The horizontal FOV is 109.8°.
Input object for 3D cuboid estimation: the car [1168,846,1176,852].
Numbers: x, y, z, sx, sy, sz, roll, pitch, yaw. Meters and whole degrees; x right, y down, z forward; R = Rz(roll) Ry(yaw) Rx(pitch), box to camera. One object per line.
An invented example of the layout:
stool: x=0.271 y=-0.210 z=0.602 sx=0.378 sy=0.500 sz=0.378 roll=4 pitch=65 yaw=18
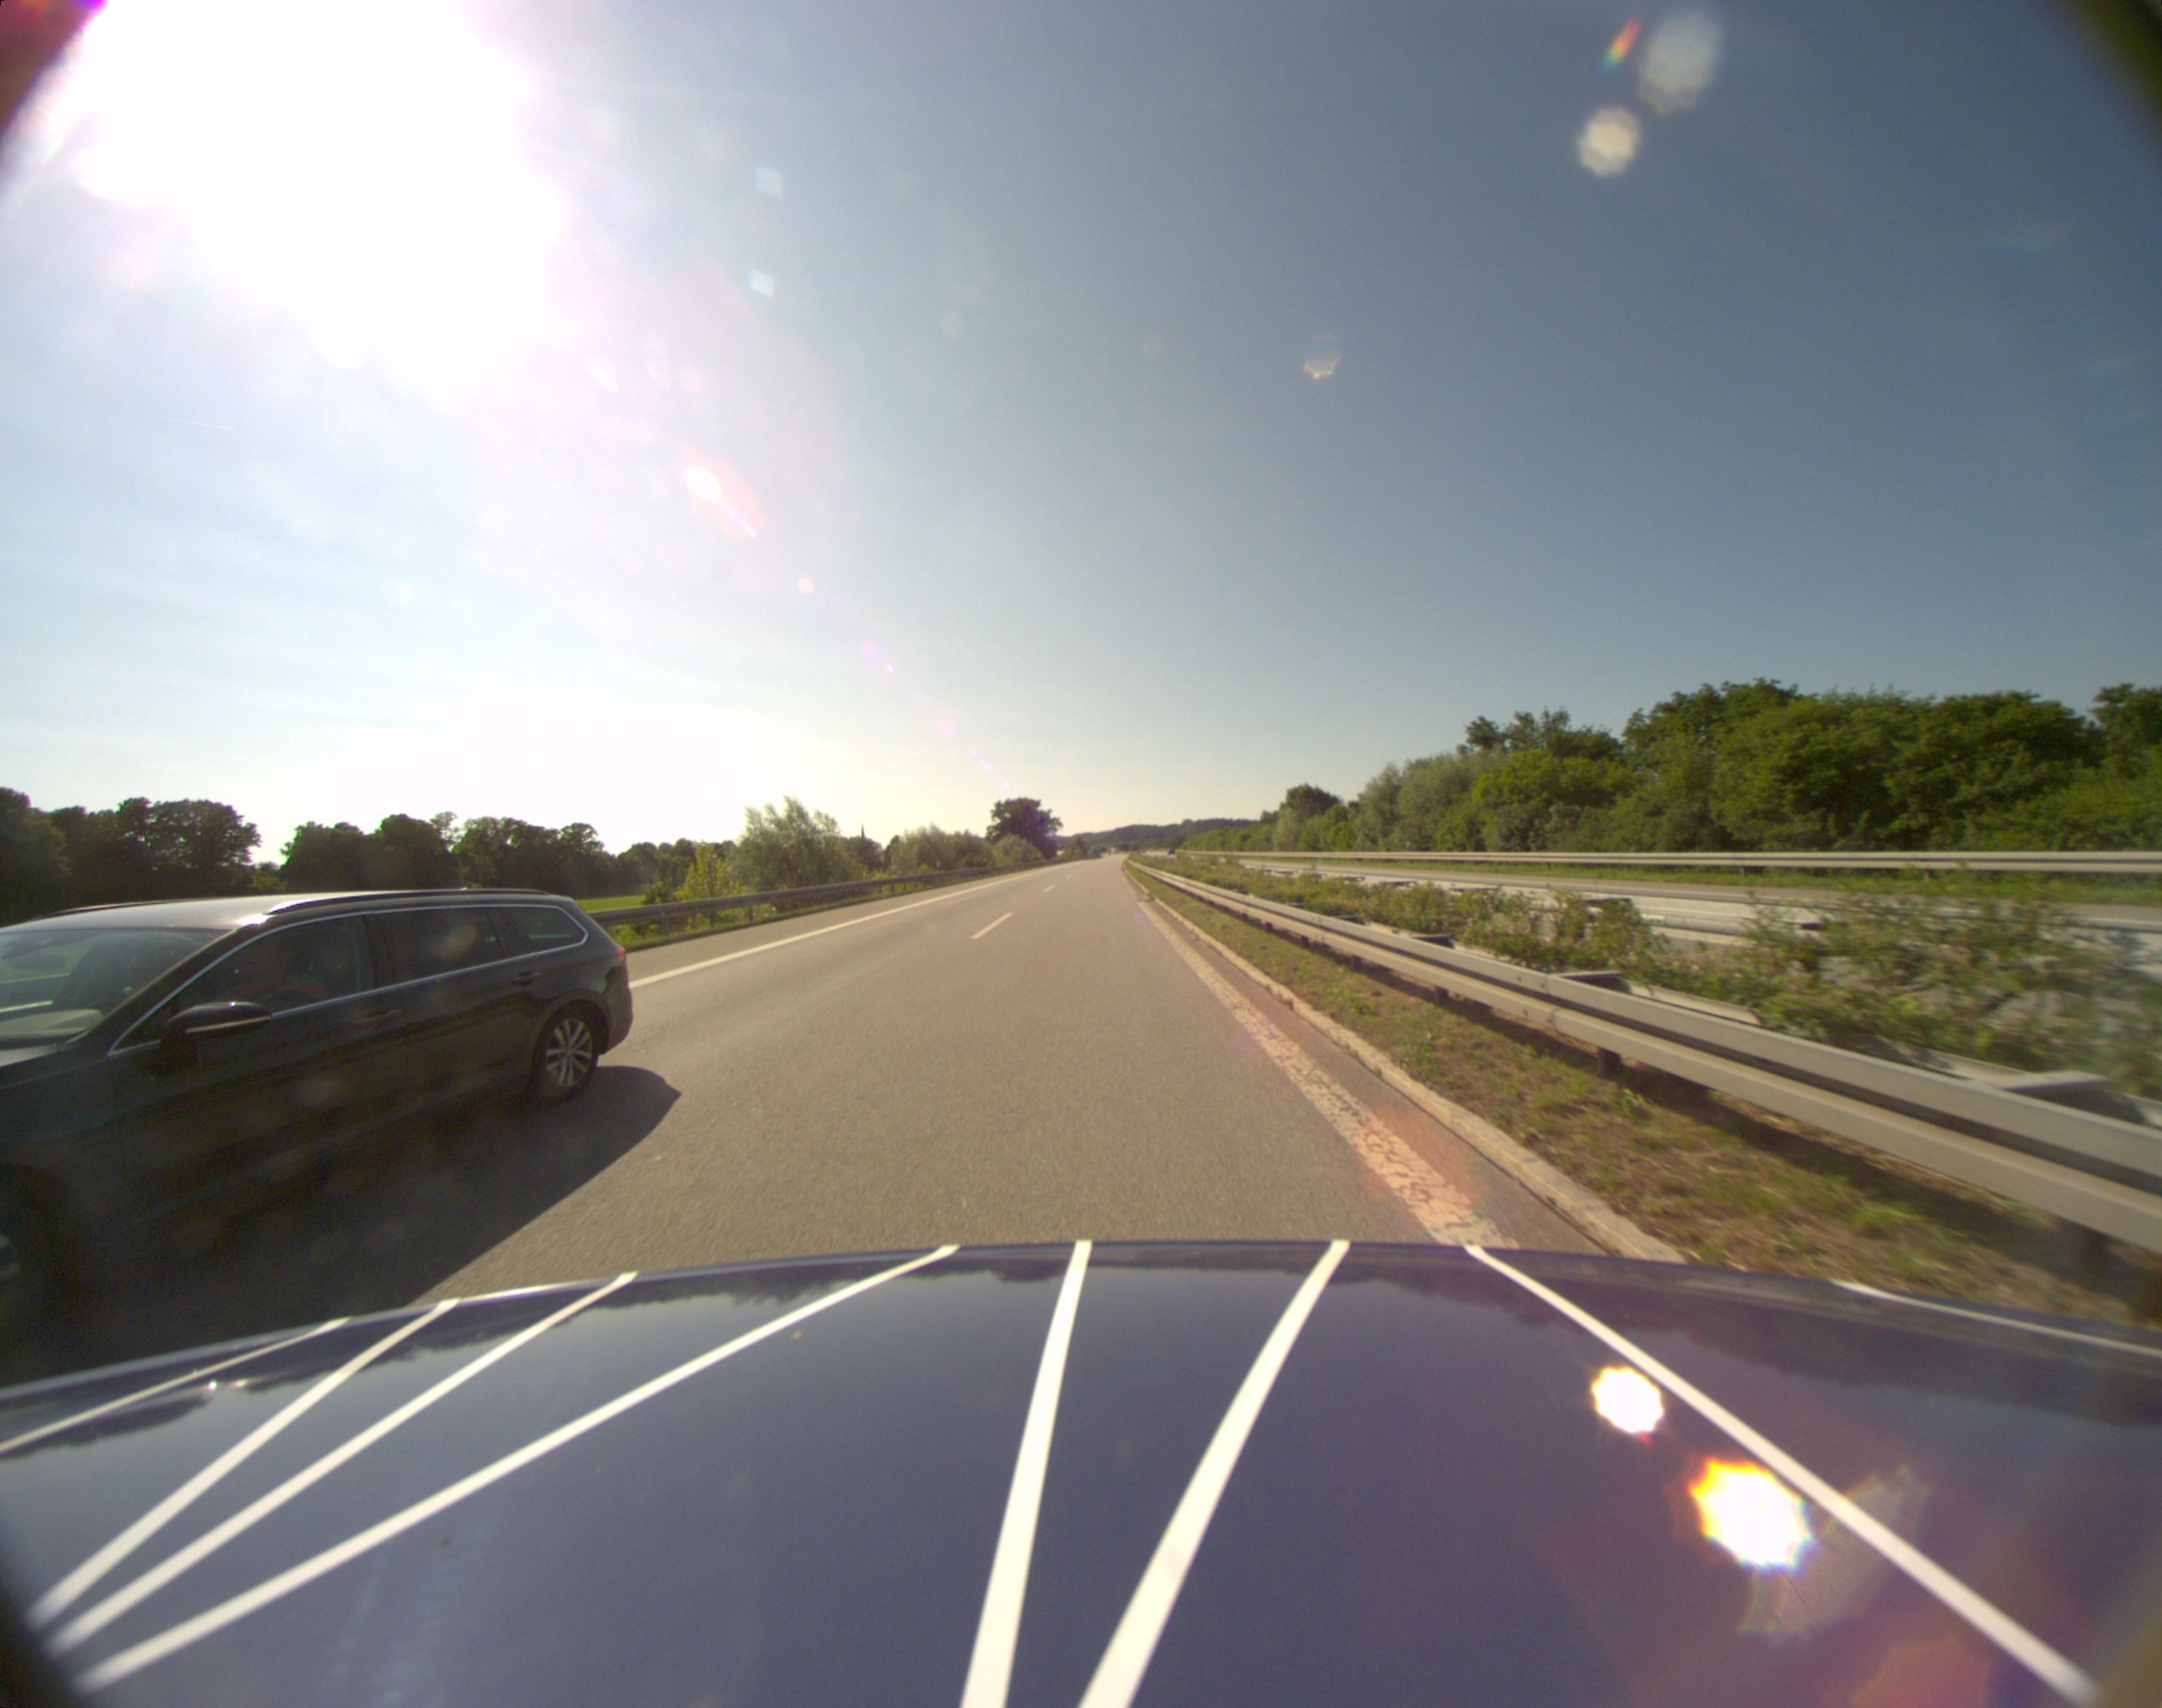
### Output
car: x=21.477 y=-1.208 z=179.071 sx=1.680 sy=1.433 sz=4.000 roll=-1 pitch=0 yaw=3

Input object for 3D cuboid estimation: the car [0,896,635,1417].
car: x=-4.230 y=1.070 z=3.438 sx=1.723 sy=1.392 sz=4.413 roll=-2 pitch=1 yaw=1
